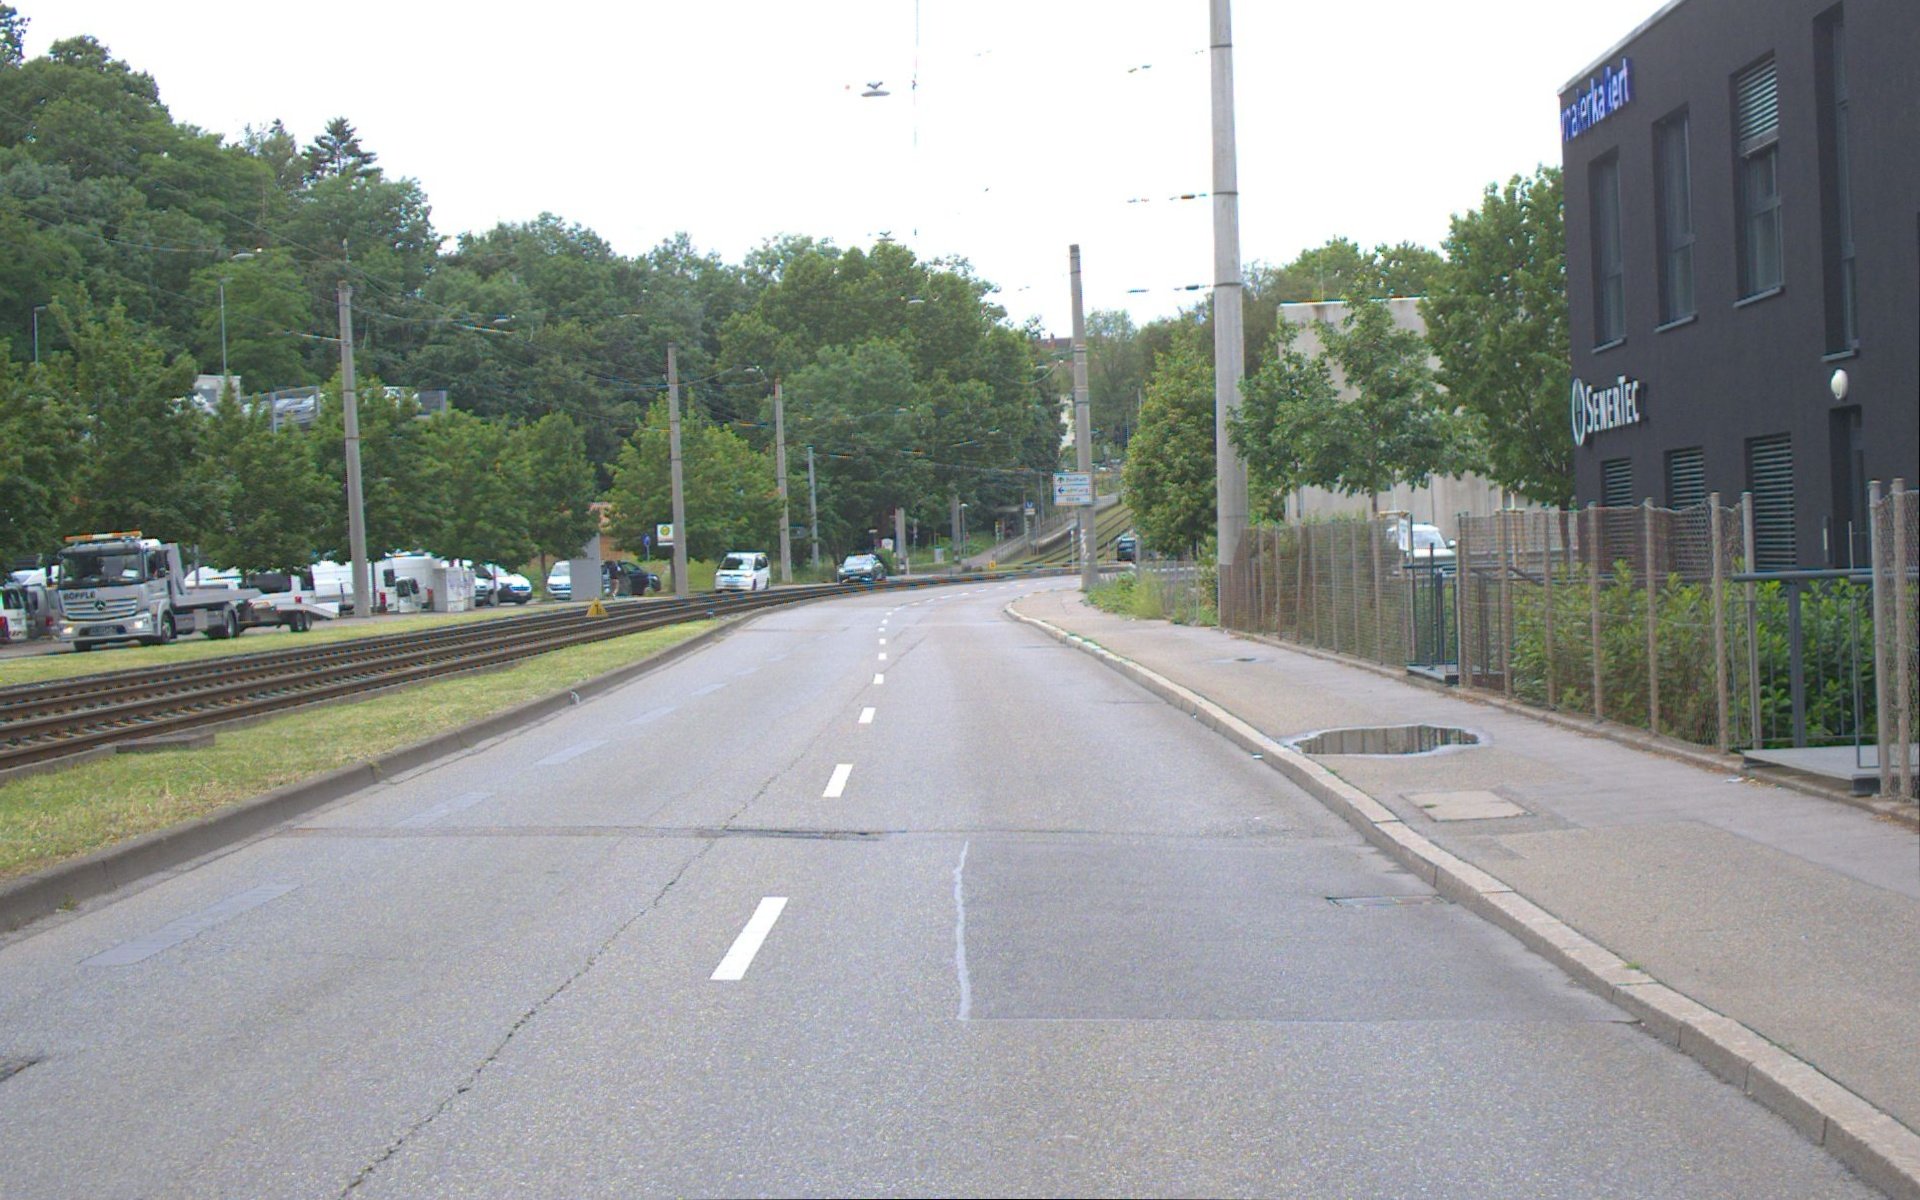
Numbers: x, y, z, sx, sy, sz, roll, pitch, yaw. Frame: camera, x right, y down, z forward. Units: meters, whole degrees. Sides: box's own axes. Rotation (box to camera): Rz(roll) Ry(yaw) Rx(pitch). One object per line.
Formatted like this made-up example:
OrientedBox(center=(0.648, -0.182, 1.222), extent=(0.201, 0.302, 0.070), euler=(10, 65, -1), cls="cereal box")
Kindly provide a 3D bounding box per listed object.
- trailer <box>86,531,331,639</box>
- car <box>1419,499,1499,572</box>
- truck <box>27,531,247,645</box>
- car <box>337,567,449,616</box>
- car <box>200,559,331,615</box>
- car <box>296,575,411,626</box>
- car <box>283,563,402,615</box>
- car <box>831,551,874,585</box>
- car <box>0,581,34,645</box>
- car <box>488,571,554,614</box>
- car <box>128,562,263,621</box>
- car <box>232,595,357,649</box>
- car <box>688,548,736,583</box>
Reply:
OrientedBox(center=(-19.358, -0.448, 89.352), extent=(2.893, 2.574, 9.992), euler=(-2, 1, 8), cls="trailer")
OrientedBox(center=(12.479, -1.603, 85.858), extent=(1.828, 1.700, 3.804), euler=(-2, 1, 9), cls="car")
OrientedBox(center=(-20.043, -0.334, 84.178), extent=(2.884, 2.580, 6.909), euler=(-2, 1, 7), cls="truck")
OrientedBox(center=(-22.481, -0.333, 136.266), extent=(3.988, 1.700, 1.833), euler=(-2, -3, 7), cls="car")
OrientedBox(center=(-23.851, -0.437, 118.137), extent=(3.988, 1.700, 1.833), euler=(-2, -3, 7), cls="car")
OrientedBox(center=(-23.344, 0.030, 132.348), extent=(3.988, 1.700, 1.833), euler=(-2, -3, 7), cls="car")
OrientedBox(center=(-23.084, -0.404, 128.622), extent=(3.988, 1.700, 1.833), euler=(-2, -3, 7), cls="car")
OrientedBox(center=(-5.470, -1.644, 175.676), extent=(1.993, 1.634, 4.000), euler=(-2, 1, 0), cls="car")
OrientedBox(center=(-27.664, 0.424, 94.105), extent=(3.988, 1.700, 1.833), euler=(-2, 1, 7), cls="car")
OrientedBox(center=(-20.259, -0.341, 158.800), extent=(1.828, 1.700, 4.140), euler=(-3, -3, 11), cls="car")
OrientedBox(center=(-25.447, -0.274, 114.508), extent=(3.988, 1.700, 1.833), euler=(-2, -3, 7), cls="car")
OrientedBox(center=(-23.872, 0.770, 123.382), extent=(3.988, 1.700, 1.833), euler=(-2, 2, 7), cls="car")
OrientedBox(center=(-12.079, -1.689, 167.504), extent=(1.993, 1.634, 4.000), euler=(-2, 1, 0), cls="car")
